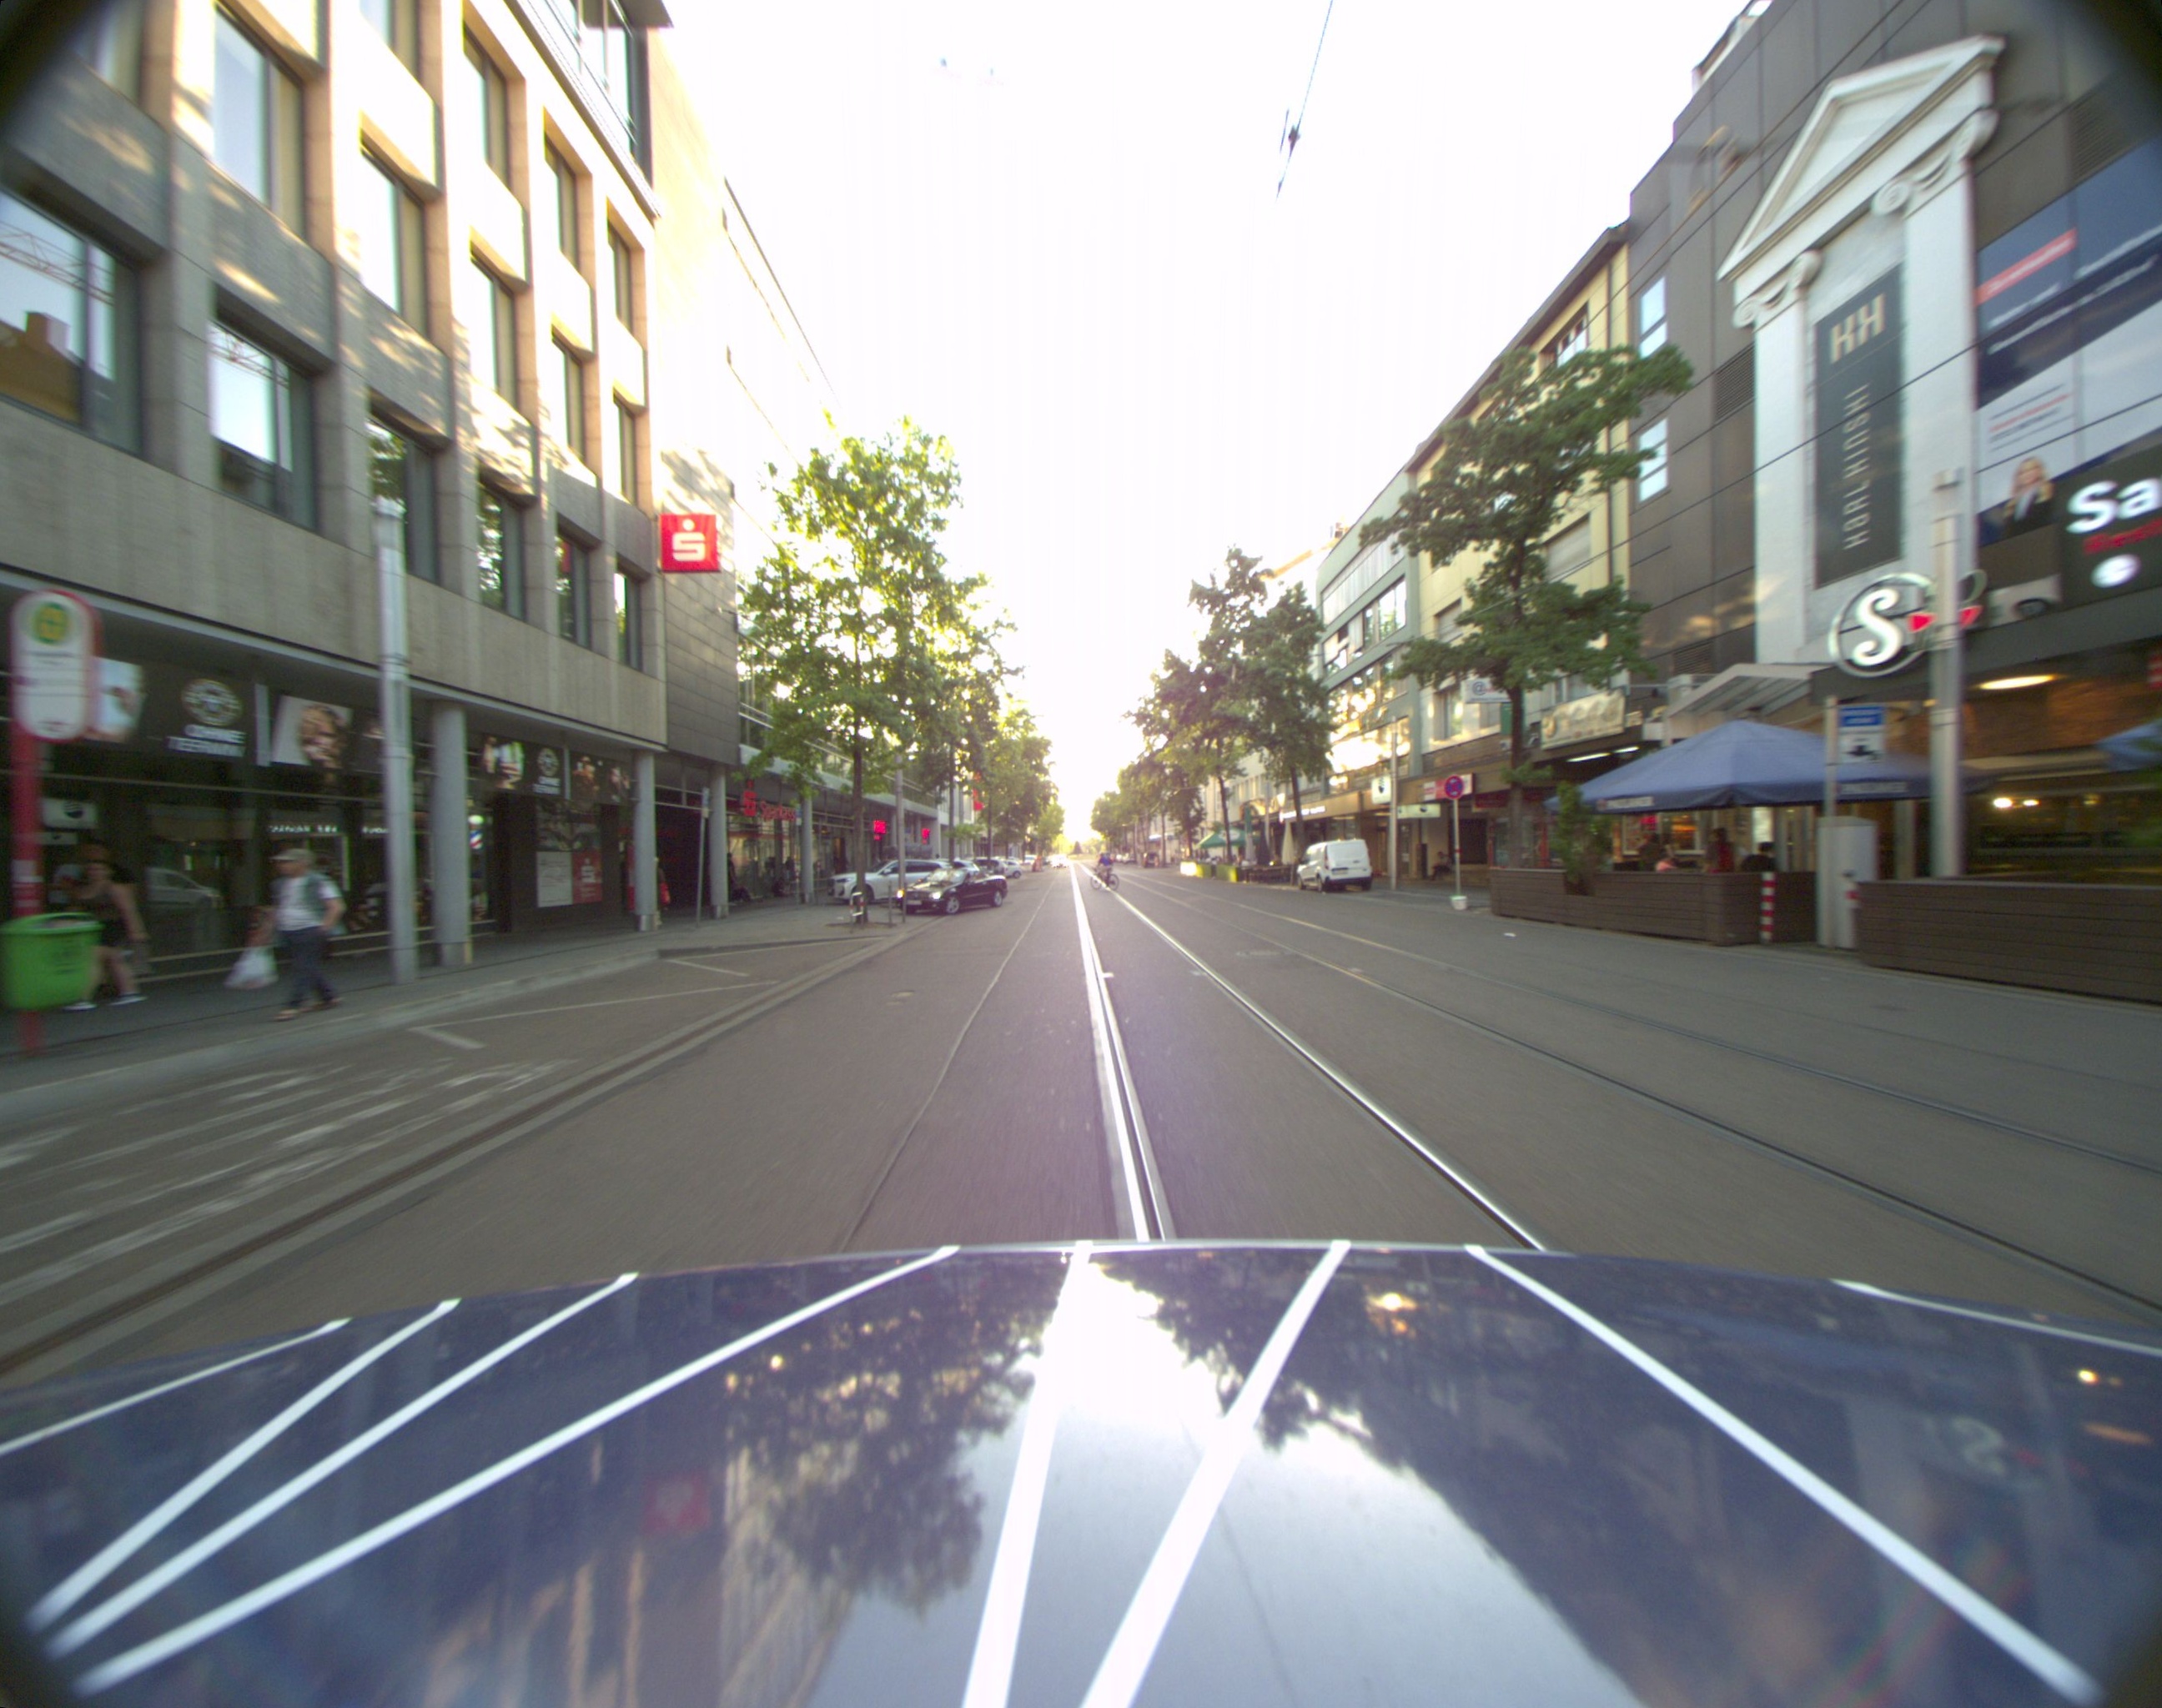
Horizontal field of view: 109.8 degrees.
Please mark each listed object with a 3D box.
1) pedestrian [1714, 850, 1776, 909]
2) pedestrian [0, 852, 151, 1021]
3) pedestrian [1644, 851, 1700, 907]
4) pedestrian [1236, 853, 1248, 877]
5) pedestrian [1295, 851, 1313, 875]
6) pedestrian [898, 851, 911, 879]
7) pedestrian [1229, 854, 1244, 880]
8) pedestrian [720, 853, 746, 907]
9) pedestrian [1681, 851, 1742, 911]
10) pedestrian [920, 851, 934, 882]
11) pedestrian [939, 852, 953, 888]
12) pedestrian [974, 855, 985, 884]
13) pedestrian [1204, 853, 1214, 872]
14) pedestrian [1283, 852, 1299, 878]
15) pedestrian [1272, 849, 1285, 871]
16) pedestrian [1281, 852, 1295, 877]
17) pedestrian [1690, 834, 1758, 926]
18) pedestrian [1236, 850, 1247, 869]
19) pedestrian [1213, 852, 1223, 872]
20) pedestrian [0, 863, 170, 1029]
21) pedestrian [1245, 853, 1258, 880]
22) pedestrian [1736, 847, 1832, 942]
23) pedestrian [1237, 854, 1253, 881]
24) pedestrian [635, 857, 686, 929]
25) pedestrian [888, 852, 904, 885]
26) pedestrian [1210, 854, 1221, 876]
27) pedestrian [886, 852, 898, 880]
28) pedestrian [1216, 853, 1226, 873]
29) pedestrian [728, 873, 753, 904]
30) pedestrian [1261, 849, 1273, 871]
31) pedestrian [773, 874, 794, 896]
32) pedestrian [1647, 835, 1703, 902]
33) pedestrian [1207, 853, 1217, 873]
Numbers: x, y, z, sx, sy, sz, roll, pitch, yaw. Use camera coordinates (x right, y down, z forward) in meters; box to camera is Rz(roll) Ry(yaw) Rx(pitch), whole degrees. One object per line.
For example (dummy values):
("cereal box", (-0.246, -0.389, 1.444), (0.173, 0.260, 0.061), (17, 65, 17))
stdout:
("pedestrian", (13.654, 0.514, 15.636), (0.642, 1.150, 0.665), (-4, 2, -2))
("pedestrian", (-11.156, 0.867, 8.379), (0.675, 1.762, 0.863), (0, 1, -1))
("pedestrian", (12.870, 0.529, 16.562), (0.642, 1.150, 0.665), (-4, 2, -2))
("pedestrian", (9.660, 0.653, 45.509), (0.649, 1.451, 0.651), (-1, 1, 13))
("pedestrian", (12.348, 0.481, 42.163), (0.701, 1.308, 0.786), (-1, 1, -5))
("pedestrian", (-10.824, 0.682, 46.534), (0.618, 1.681, 0.628), (0, 1, 0))
("pedestrian", (8.706, 0.726, 42.540), (0.649, 1.451, 0.650), (-1, 1, 0))
("pedestrian", (-11.688, 0.859, 25.524), (0.558, 1.762, 0.628), (0, 1, 0))
("pedestrian", (12.844, 0.544, 15.487), (0.642, 1.150, 0.665), (-4, 2, -2))
("pedestrian", (-8.432, 0.667, 41.557), (0.618, 1.681, 0.628), (0, 1, 0))
("pedestrian", (-6.876, 0.796, 38.695), (0.618, 1.789, 0.628), (0, 1, 0))
("pedestrian", (-6.044, 0.911, 45.313), (0.618, 1.681, 0.627), (-1, 1, -5))
("pedestrian", (9.095, 0.598, 53.968), (0.649, 1.378, 0.650), (-1, 1, 6))
("pedestrian", (12.354, 0.644, 44.706), (0.650, 1.451, 0.649), (-1, 1, -9))
("pedestrian", (13.054, 0.402, 50.308), (0.650, 1.451, 0.650), (-1, 1, -3))
("pedestrian", (12.440, 0.628, 45.662), (0.650, 1.451, 0.650), (-1, 1, -2))
("pedestrian", (11.287, 0.444, 13.348), (0.658, 1.543, 0.565), (-4, 2, -2))
("pedestrian", (12.622, 0.454, 59.734), (0.650, 1.451, 0.650), (-1, 1, -3))
("pedestrian", (9.745, 0.576, 53.913), (0.649, 1.378, 0.650), (-1, 1, 6))
("pedestrian", (-10.435, 0.925, 7.994), (0.682, 1.635, 0.788), (0, 1, -1))
("pedestrian", (9.502, 0.700, 42.390), (0.649, 1.451, 0.651), (-1, 1, 17))
("pedestrian", (10.972, 0.609, 11.887), (0.766, 1.393, 0.746), (-4, 2, -1))
("pedestrian", (8.999, 0.728, 41.602), (0.648, 1.451, 0.651), (-1, 1, 30))
("pedestrian", (-9.762, 0.894, 17.671), (0.749, 1.635, 0.741), (0, 1, 0))
("pedestrian", (-9.419, 0.739, 38.657), (0.618, 1.681, 0.628), (0, 1, 0))
("pedestrian", (8.665, 0.681, 48.833), (0.649, 1.378, 0.650), (-1, 1, 6))
("pedestrian", (-11.593, 0.709, 46.534), (0.558, 1.681, 0.628), (0, 1, 0))
("pedestrian", (9.695, 0.594, 52.702), (0.649, 1.378, 0.650), (-1, 1, 6))
("pedestrian", (-11.900, 1.200, 26.573), (0.628, 1.030, 0.558), (-1, 1, -9))
("pedestrian", (12.536, 0.408, 51.220), (0.650, 1.451, 0.650), (-1, 1, -3))
("pedestrian", (-11.985, 1.247, 30.642), (0.627, 0.876, 0.558), (0, 1, -1))
("pedestrian", (13.503, 0.319, 17.284), (0.662, 1.426, 0.643), (-6, 2, 0))
("pedestrian", (9.102, 0.614, 52.727), (0.649, 1.378, 0.650), (-1, 1, 6))
